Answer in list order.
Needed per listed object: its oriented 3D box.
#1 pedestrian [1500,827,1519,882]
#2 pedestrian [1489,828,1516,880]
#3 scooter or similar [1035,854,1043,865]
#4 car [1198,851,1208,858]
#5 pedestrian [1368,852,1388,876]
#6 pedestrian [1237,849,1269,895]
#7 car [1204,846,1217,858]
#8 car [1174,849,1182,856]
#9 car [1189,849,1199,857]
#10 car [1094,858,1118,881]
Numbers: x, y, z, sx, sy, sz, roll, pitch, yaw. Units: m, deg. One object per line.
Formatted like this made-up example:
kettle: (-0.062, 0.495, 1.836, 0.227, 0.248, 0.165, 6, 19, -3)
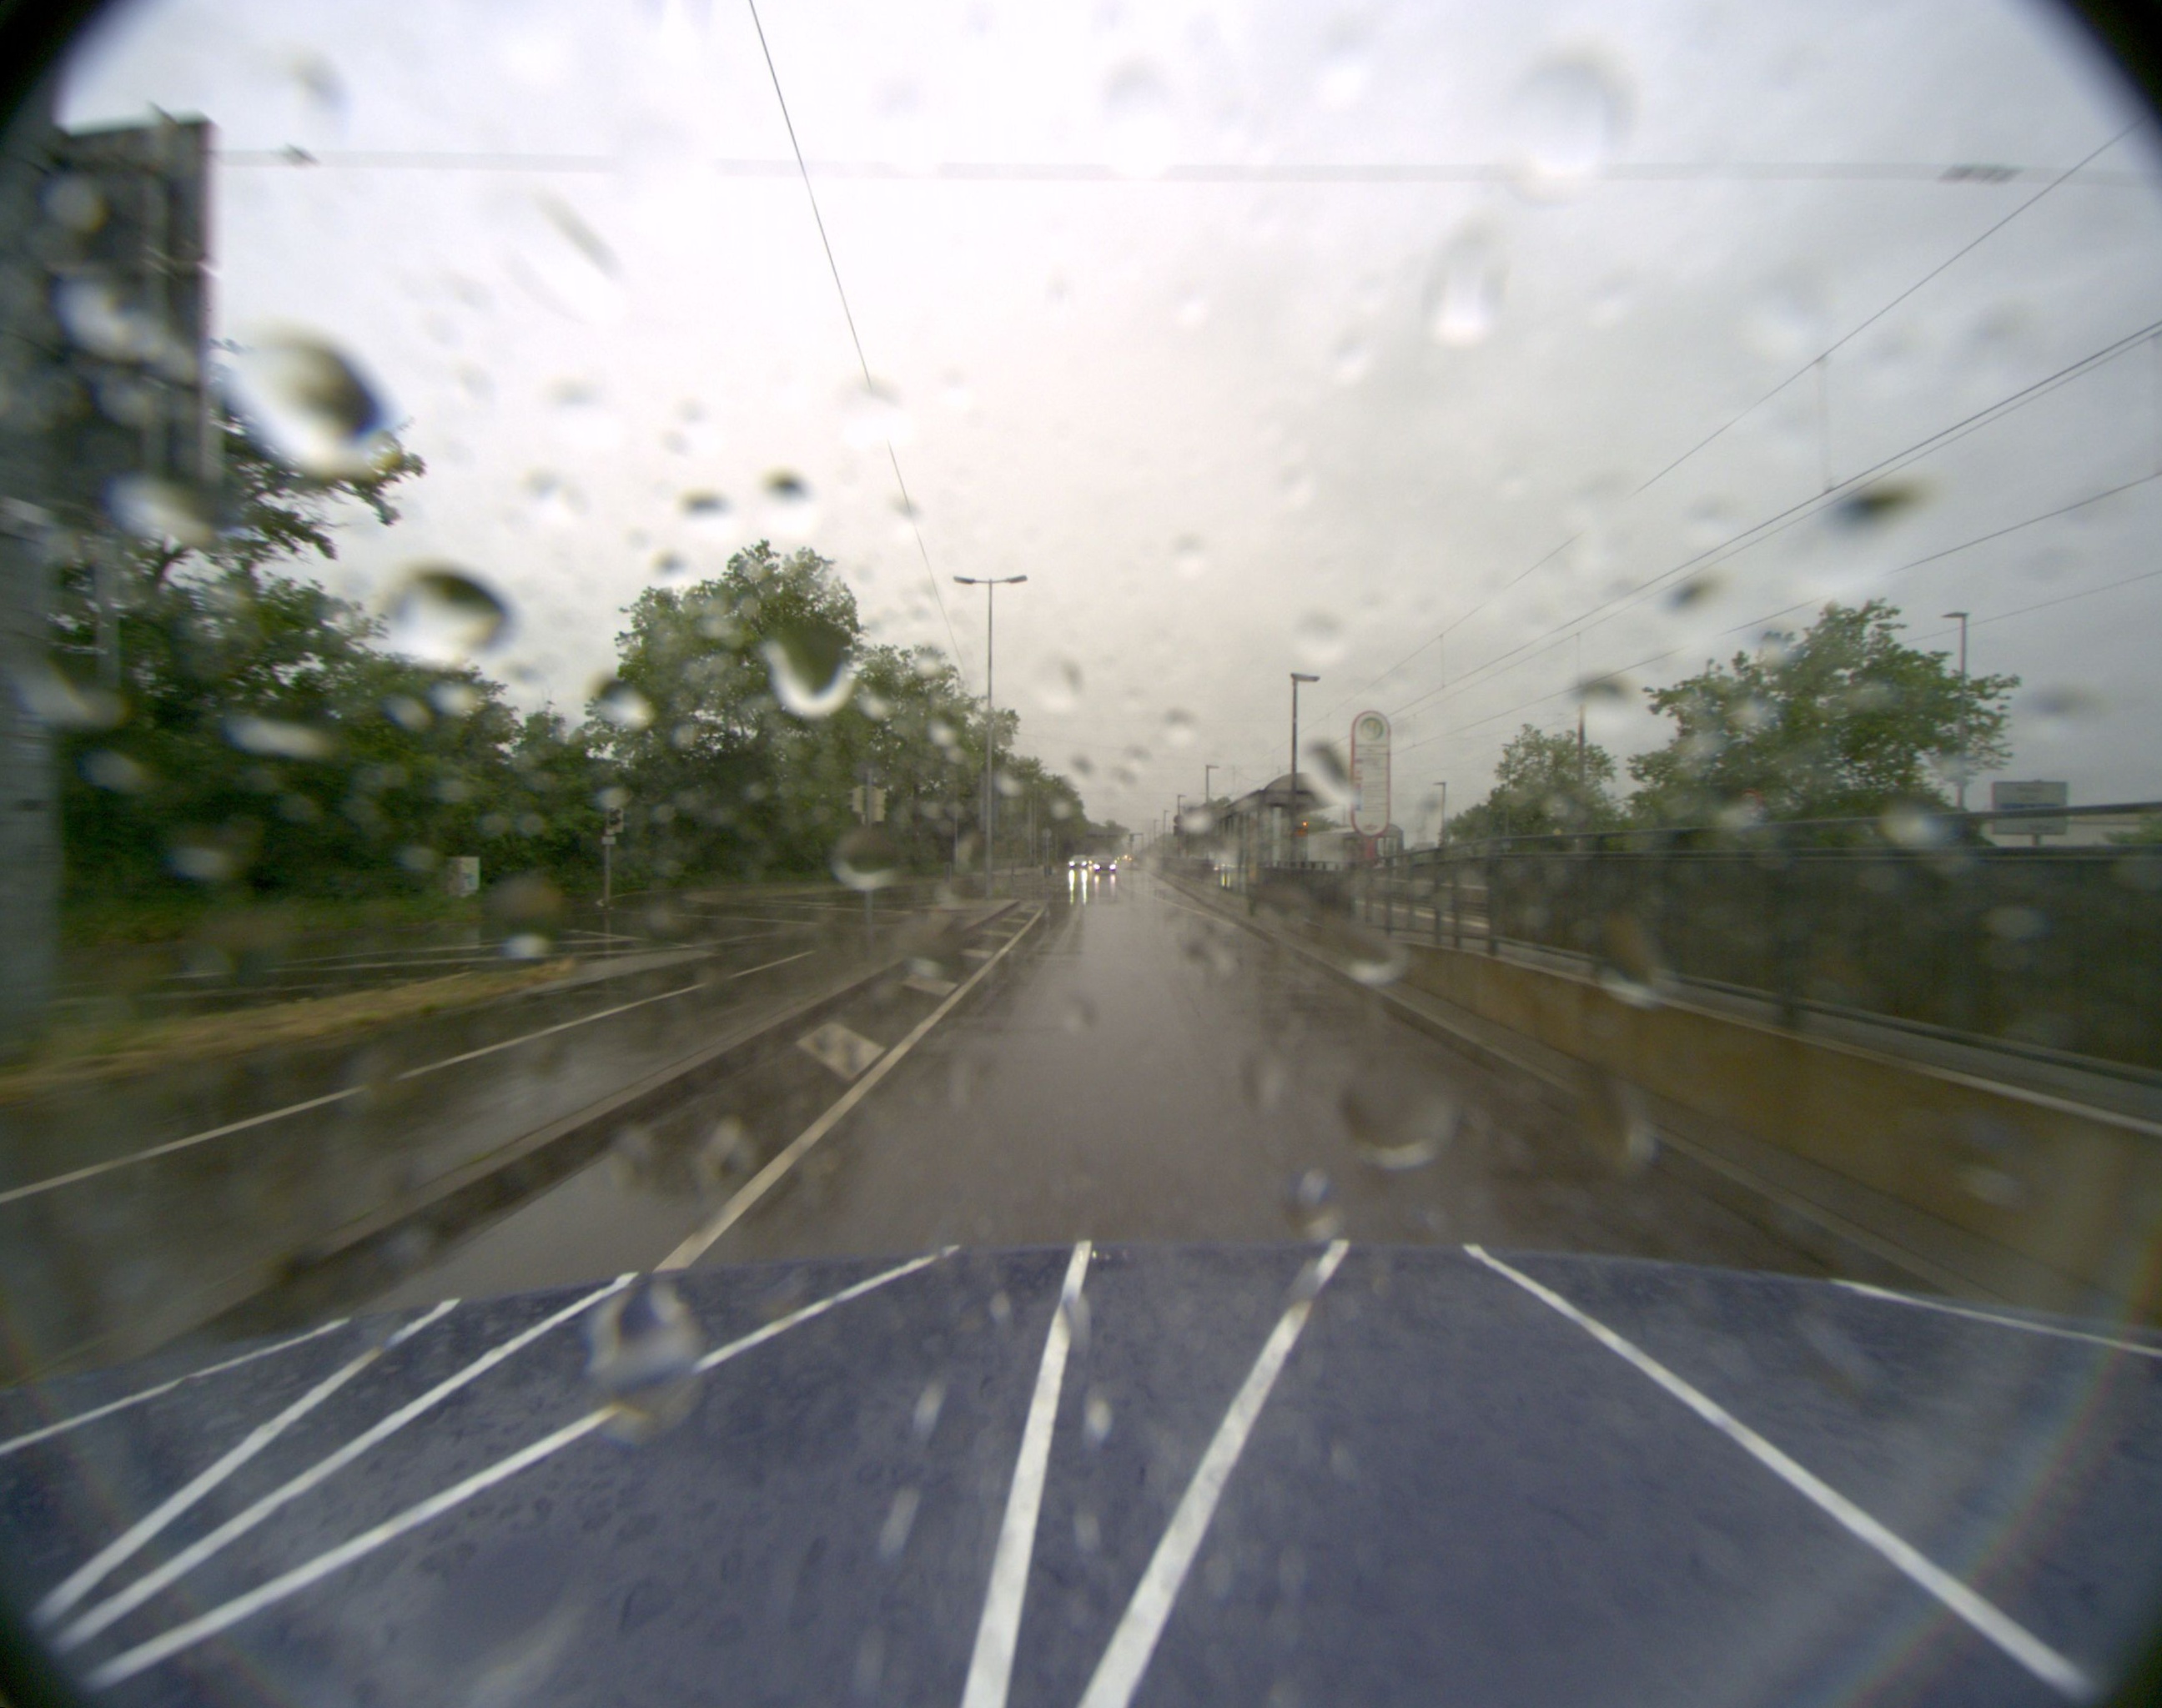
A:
pedestrian: (31.825, 0.037, 56.465, 1.169, 4.006, 1.522, 0, 1, 31)
pedestrian: (32.840, -0.001, 59.192, 1.172, 4.006, 1.518, 0, 1, -8)
scooter or similar: (-5.211, 0.633, 93.721, 0.760, 1.285, 1.647, 0, 1, 6)
car: (30.444, 0.093, 190.246, 1.998, 1.697, 4.626, 0, 0, 3)
pedestrian: (16.925, 0.562, 43.302, 0.833, 1.308, 0.858, -1, 0, 3)
pedestrian: (5.073, 0.530, 22.478, 0.816, 1.332, 0.659, 0, 1, 3)
car: (29.606, -0.539, 173.922, 2.124, 2.697, 5.739, 0, 0, 3)
car: (27.540, -0.470, 215.694, 1.998, 1.761, 4.259, 0, 0, 3)
car: (26.354, -0.223, 177.445, 1.998, 2.002, 4.754, 0, 0, 3)
car: (2.327, 1.410, 69.768, 1.998, 2.002, 4.001, 0, 0, 4)
